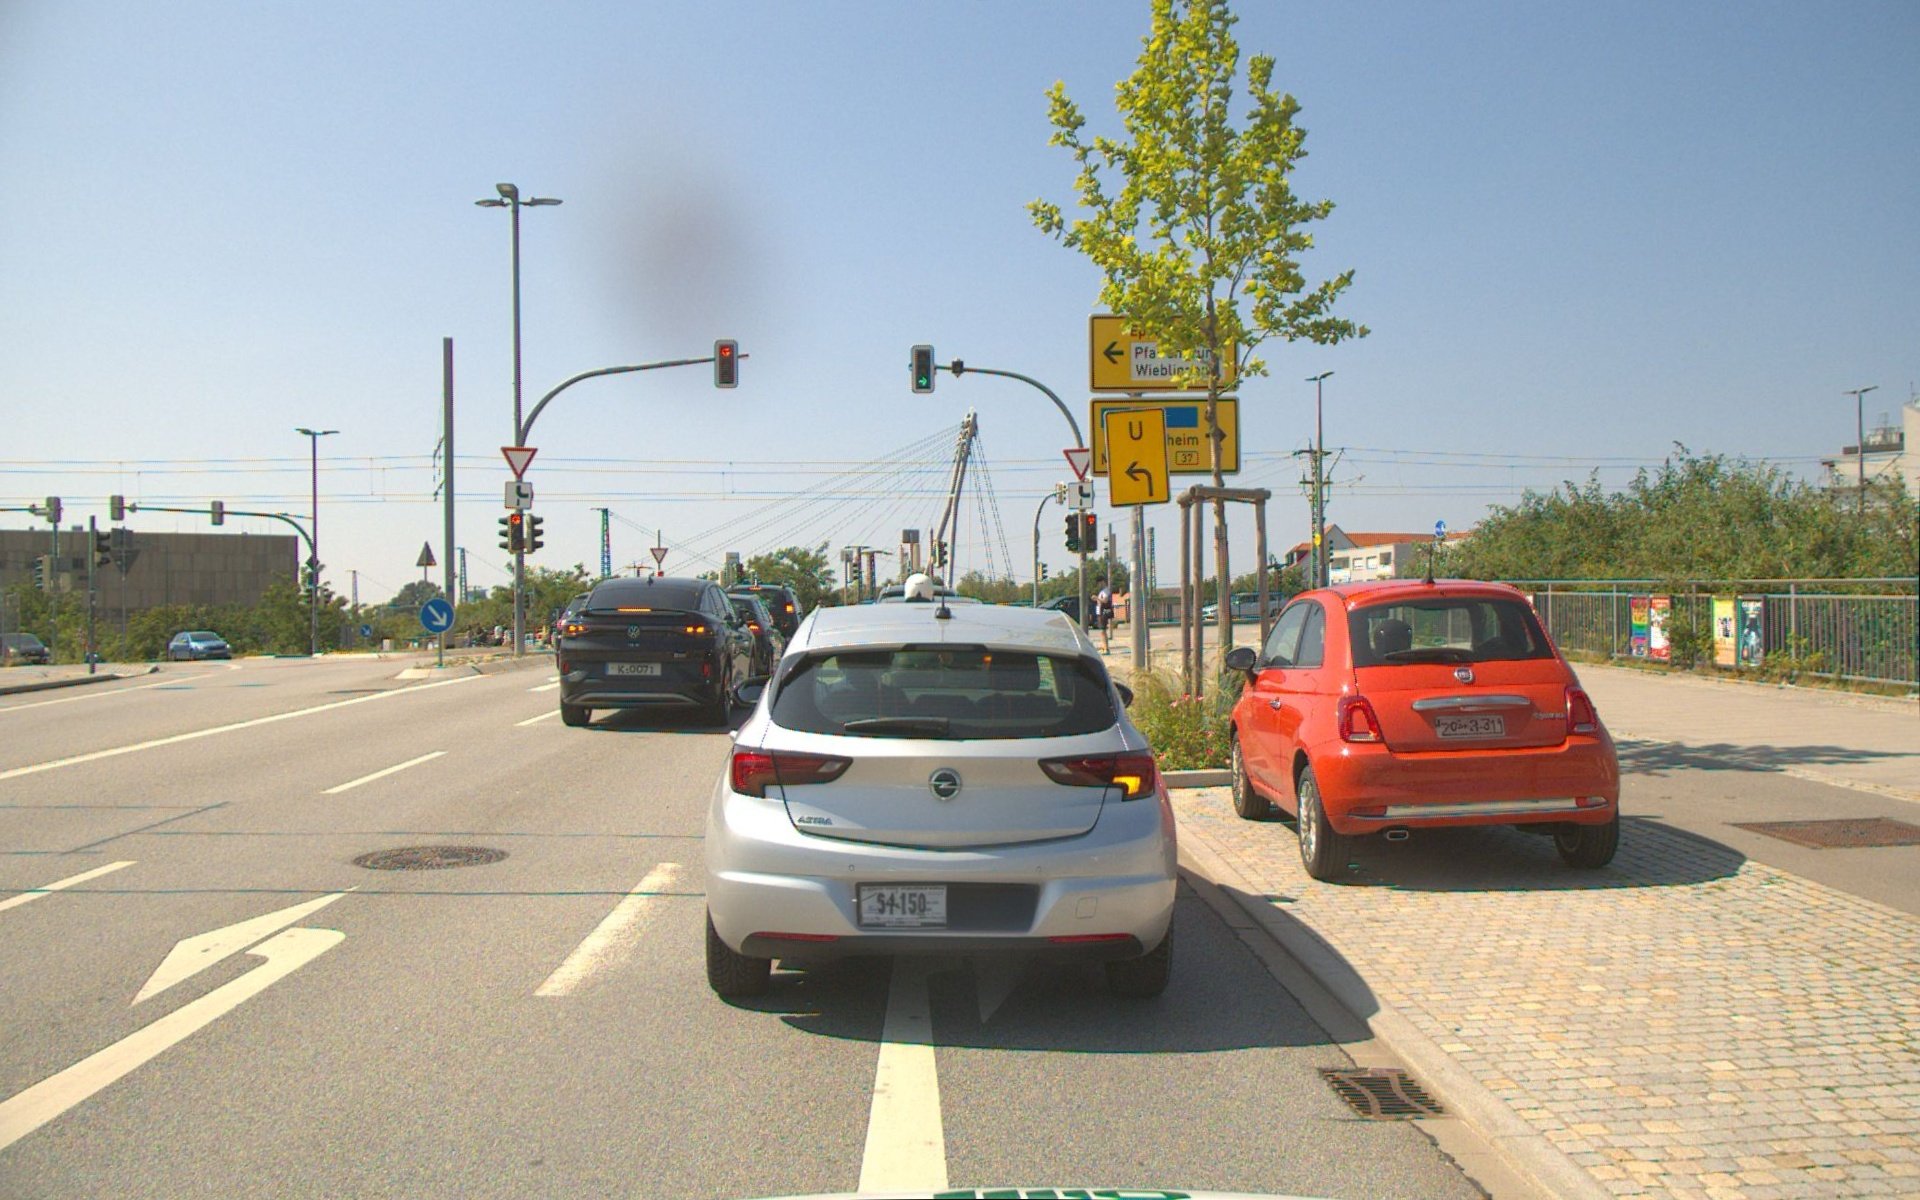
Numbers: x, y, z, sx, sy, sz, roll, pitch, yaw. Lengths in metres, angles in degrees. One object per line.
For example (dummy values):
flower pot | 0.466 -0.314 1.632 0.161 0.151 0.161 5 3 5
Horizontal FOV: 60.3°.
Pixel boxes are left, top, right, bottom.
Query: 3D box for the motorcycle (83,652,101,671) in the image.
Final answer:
motorcycle | -46.727 3.304 89.042 0.515 0.971 1.908 1 0 -37

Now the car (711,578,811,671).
car | -3.757 0.450 31.759 1.616 1.643 3.818 1 0 -3

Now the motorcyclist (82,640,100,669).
motorcyclist | -46.780 2.925 89.063 0.746 1.520 0.668 1 -1 -38

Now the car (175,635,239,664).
car | -36.250 2.352 79.553 1.806 1.354 3.941 1 -2 -40

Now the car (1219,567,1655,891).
car | 2.596 0.617 9.768 1.577 1.522 3.352 -2 0 0

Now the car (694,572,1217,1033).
car | -0.116 0.681 7.459 1.708 1.503 3.997 1 0 -3

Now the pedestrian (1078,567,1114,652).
pedestrian | 3.073 0.216 37.377 0.634 1.868 0.797 -3 0 -3

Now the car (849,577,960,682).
car | -0.876 0.425 27.548 1.689 1.591 4.000 1 1 -1

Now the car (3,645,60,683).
car | -41.081 2.806 73.128 1.662 1.502 3.358 -1 1 -39

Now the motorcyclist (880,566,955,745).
motorcyclist | -0.348 0.442 13.517 0.570 1.413 0.706 1 -1 -2

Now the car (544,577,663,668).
car | -6.585 0.397 30.867 1.565 1.574 3.760 1 0 -3

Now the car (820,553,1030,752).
car | -0.363 0.468 17.843 1.953 1.852 4.401 1 1 -1

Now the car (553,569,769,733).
car | -3.356 0.537 19.368 1.765 1.670 4.365 1 0 -1

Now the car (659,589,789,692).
car | -3.580 0.591 25.590 1.543 1.459 3.785 1 0 -2

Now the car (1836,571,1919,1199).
car | 2.926 0.638 1.916 1.626 1.451 3.999 -1 0 -1
